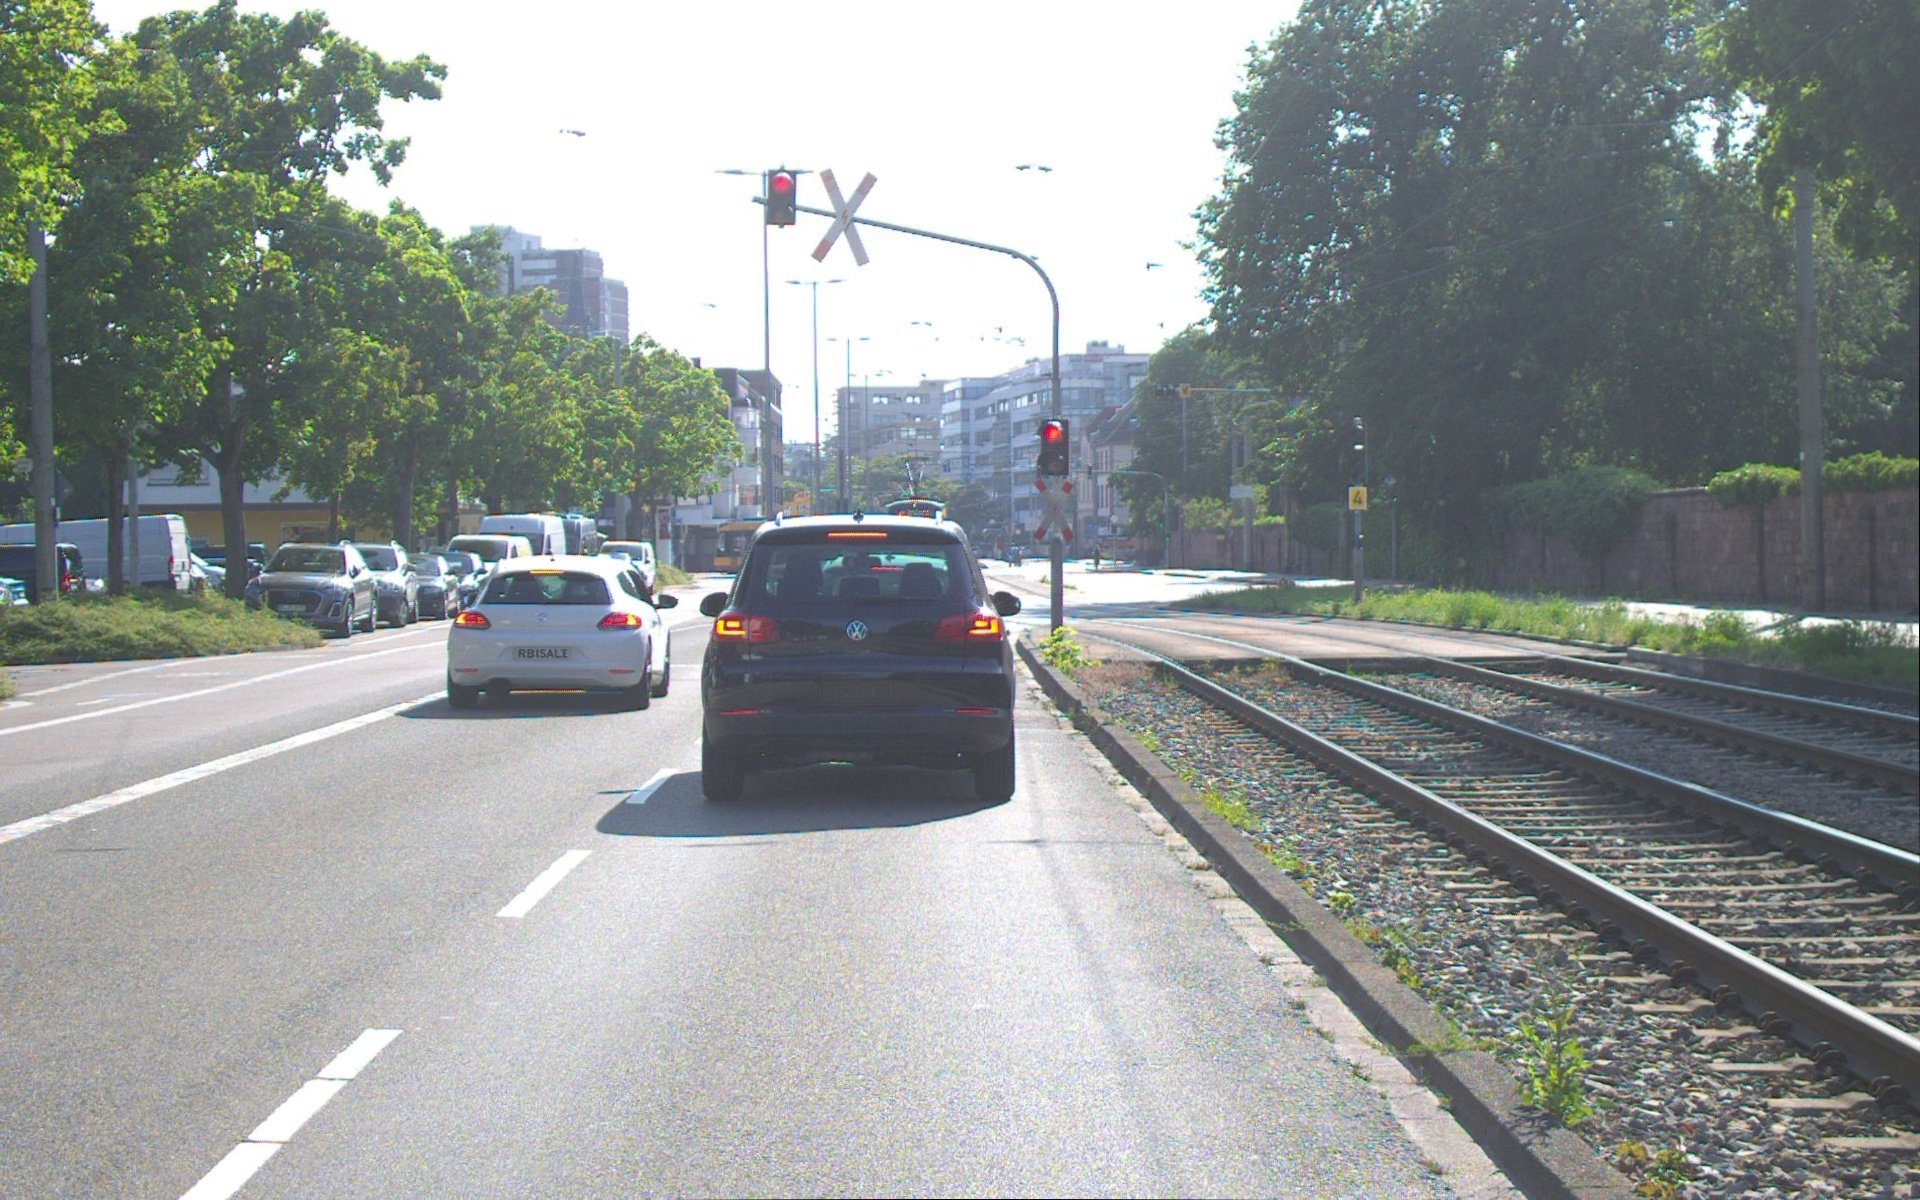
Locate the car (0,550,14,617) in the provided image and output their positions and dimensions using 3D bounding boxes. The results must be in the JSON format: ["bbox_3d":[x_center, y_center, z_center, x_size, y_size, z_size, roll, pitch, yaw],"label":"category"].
[{"bbox_3d":[-22.265,-0.322,72.826,3.986,1.392,1.738,-1,1,-3],"label":"car"}]

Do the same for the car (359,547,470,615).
[{"bbox_3d":[-11.894,-0.426,75.157,1.732,1.384,3.735,-1,2,1],"label":"car"}]

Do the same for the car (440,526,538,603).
[{"bbox_3d":[-11.798,-0.924,86.357,1.732,1.853,4.489,-1,1,1],"label":"car"}]

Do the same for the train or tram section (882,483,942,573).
[{"bbox_3d":[-1.940,-2.965,141.932,2.326,3.558,8.900,-1,1,0],"label":"train or tram section"}]

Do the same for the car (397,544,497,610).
[{"bbox_3d":[-12.067,-0.552,81.043,1.732,1.445,3.735,-1,2,1],"label":"car"}]

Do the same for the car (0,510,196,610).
[{"bbox_3d":[-22.080,-1.006,86.166,5.375,2.415,2.088,-1,1,0],"label":"car"}]

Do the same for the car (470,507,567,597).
[{"bbox_3d":[-11.922,-1.314,93.027,1.863,2.339,4.985,-1,1,1],"label":"car"}]

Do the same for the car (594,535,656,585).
[{"bbox_3d":[-11.944,-1.451,122.891,1.732,1.689,4.000,-1,2,1],"label":"car"}]

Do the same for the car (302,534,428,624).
[{"bbox_3d":[-11.877,-0.449,68.846,1.732,1.689,4.000,-1,2,1],"label":"car"}]

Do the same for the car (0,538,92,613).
[{"bbox_3d":[-22.299,-0.544,78.180,4.617,1.646,2.049,-1,1,-2],"label":"car"}]

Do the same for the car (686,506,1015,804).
[{"bbox_3d":[-0.618,0.277,20.989,1.811,1.639,4.000,0,1,0],"label":"car"}]

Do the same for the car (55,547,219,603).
[{"bbox_3d":[-21.906,-0.670,91.632,3.986,1.392,1.738,-1,1,-3],"label":"car"}]

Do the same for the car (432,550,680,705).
[{"bbox_3d":[-3.711,0.213,32.188,1.864,1.343,4.000,0,1,0],"label":"car"}]

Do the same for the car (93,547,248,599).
[{"bbox_3d":[-22.279,-0.768,97.103,3.986,1.392,1.738,-1,1,-3],"label":"car"}]

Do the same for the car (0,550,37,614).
[{"bbox_3d":[-22.565,-0.374,75.794,3.986,1.392,1.738,-1,1,-3],"label":"car"}]

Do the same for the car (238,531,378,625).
[{"bbox_3d":[-11.955,-0.428,63.256,1.732,1.652,4.000,-1,1,1],"label":"car"}]
